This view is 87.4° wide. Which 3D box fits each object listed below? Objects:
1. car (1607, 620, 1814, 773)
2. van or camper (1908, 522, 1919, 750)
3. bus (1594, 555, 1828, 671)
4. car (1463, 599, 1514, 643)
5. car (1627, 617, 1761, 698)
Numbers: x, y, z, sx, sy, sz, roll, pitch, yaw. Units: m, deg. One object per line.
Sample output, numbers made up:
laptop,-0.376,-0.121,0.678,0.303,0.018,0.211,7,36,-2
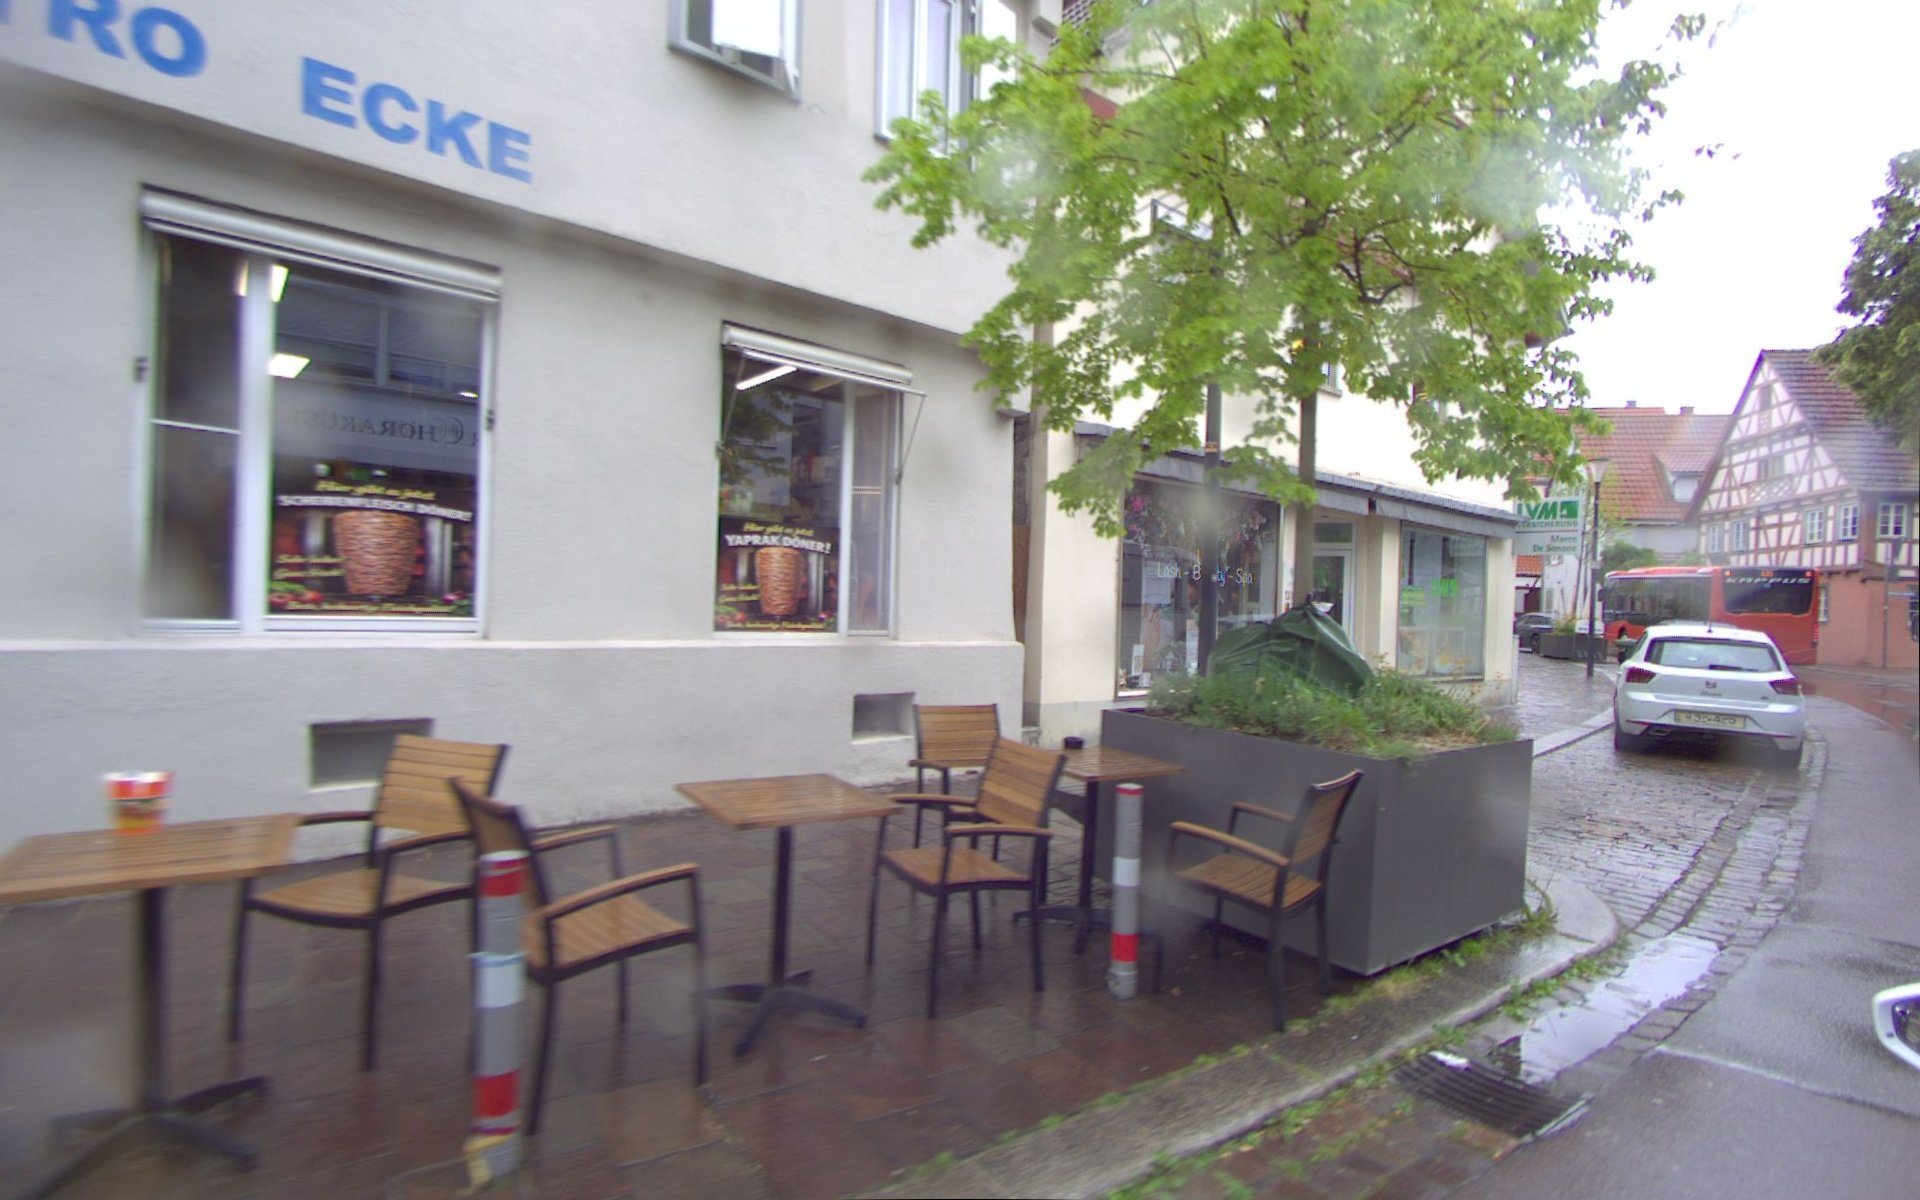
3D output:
car,9.061,1.029,12.385,1.698,1.433,3.969,4,1,34
van or camper,10.719,0.361,9.303,2.409,2.620,6.718,1,0,40
bus,23.753,0.409,32.638,2.766,3.130,10.610,1,0,18
car,22.105,0.897,42.126,1.672,1.697,3.887,2,0,26
car,15.497,1.140,21.409,1.695,1.433,3.975,2,1,28
